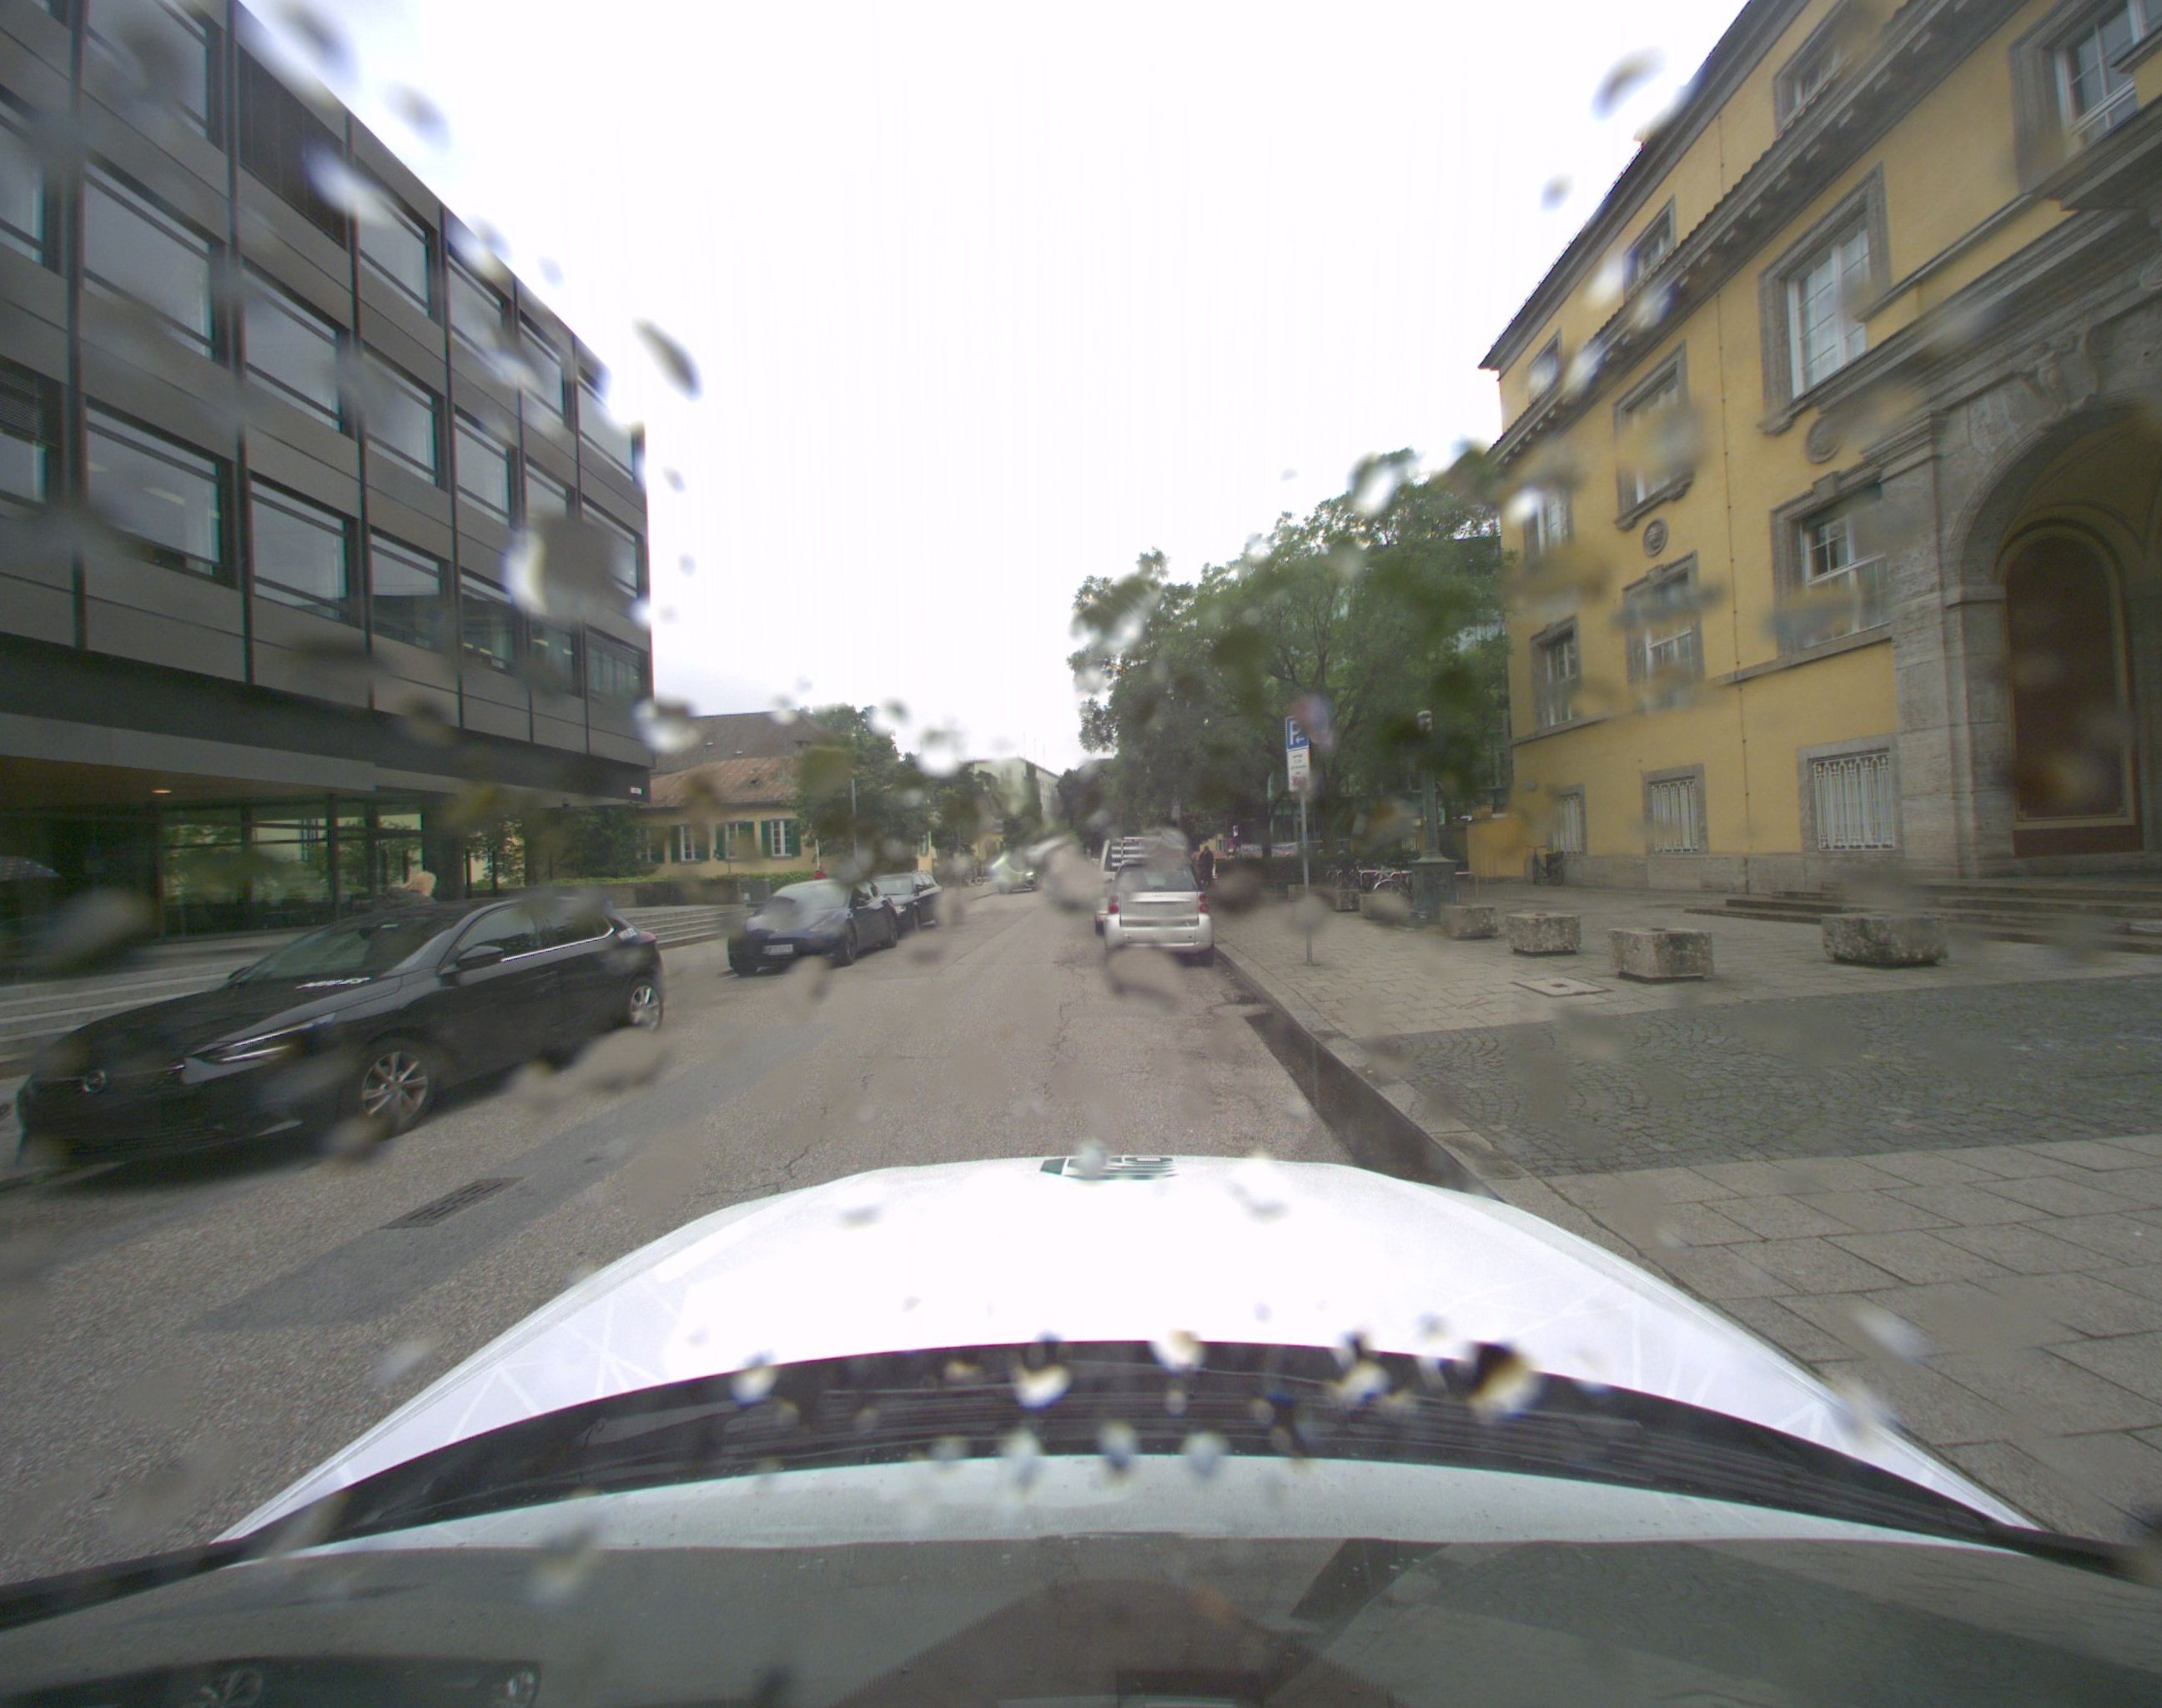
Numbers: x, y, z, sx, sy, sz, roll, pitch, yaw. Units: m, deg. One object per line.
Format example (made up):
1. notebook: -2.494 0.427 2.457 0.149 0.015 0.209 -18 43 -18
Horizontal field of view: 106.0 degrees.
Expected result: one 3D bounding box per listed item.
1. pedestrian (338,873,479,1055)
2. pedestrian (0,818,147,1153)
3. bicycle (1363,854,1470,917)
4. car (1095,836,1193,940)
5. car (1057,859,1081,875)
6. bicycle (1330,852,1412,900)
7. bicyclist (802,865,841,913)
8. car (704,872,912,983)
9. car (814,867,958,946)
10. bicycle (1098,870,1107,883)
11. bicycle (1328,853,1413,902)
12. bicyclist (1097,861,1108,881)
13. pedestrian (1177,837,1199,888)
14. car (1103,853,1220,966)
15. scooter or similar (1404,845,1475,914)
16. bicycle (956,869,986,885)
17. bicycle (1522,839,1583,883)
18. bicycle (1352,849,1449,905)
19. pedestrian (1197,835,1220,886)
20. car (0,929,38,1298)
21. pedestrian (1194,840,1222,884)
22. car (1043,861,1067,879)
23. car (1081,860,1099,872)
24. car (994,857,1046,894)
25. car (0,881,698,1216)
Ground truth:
1. pedestrian: -7.034 1.098 8.575 0.754 1.749 0.948 -3 -1 -14
2. pedestrian: -7.208 0.821 5.165 1.131 2.055 1.221 -2 -1 1
3. bicycle: 6.768 0.631 16.468 1.926 1.113 0.471 -4 -1 -2
4. car: 1.221 0.642 17.845 1.838 1.933 5.273 0 0 1
5. car: -1.278 1.380 88.289 1.984 1.648 4.661 -3 0 5
6. bicycle: 7.651 0.578 21.504 1.923 1.113 0.472 -4 -1 3
7. bicyclist: -8.484 1.147 26.628 1.096 1.498 0.668 -2 -2 -24
8. car: -4.551 1.140 14.528 1.916 1.439 4.917 -5 -1 0
9. car: -4.532 1.168 19.793 1.985 1.491 4.887 -4 -1 3
10. bicycle: 1.533 1.613 58.223 0.623 0.955 1.861 0 -1 3
11. bicycle: 7.357 0.596 20.720 1.923 1.113 0.472 -4 -1 3
12. bicyclist: 1.538 1.218 58.239 0.702 1.393 0.869 0 -1 3
13. pedestrian: 4.685 0.370 35.651 0.740 2.134 1.056 -4 -1 1
14. car: 1.170 0.778 12.741 1.599 1.546 2.935 -1 0 2
15. scooter or similar: 6.680 0.479 15.179 0.541 1.222 1.000 -3 -1 -43
16. bicycle: -7.615 1.592 56.436 1.921 1.099 0.615 -1 -1 4
17. bicycle: 13.061 0.178 22.626 0.540 1.154 1.902 -3 0 1
18. bicycle: 7.212 0.511 18.405 1.923 1.113 0.472 -4 -1 3
19. pedestrian: 5.512 0.279 35.285 0.740 2.134 1.056 -4 -1 1
20. car: -5.232 1.093 1.200 1.675 1.440 4.282 -6 -1 2
21. pedestrian: 5.688 0.350 36.494 0.735 1.907 1.063 -4 -1 37
22. car: -2.385 1.452 75.718 1.725 1.581 3.793 0 0 5
23. car: 1.278 1.572 111.171 1.983 1.486 4.007 -3 0 6
24. car: -3.147 1.094 42.968 2.016 1.689 4.681 -4 0 3
25. car: -4.959 1.076 6.233 1.732 1.461 4.240 -5 -1 3
